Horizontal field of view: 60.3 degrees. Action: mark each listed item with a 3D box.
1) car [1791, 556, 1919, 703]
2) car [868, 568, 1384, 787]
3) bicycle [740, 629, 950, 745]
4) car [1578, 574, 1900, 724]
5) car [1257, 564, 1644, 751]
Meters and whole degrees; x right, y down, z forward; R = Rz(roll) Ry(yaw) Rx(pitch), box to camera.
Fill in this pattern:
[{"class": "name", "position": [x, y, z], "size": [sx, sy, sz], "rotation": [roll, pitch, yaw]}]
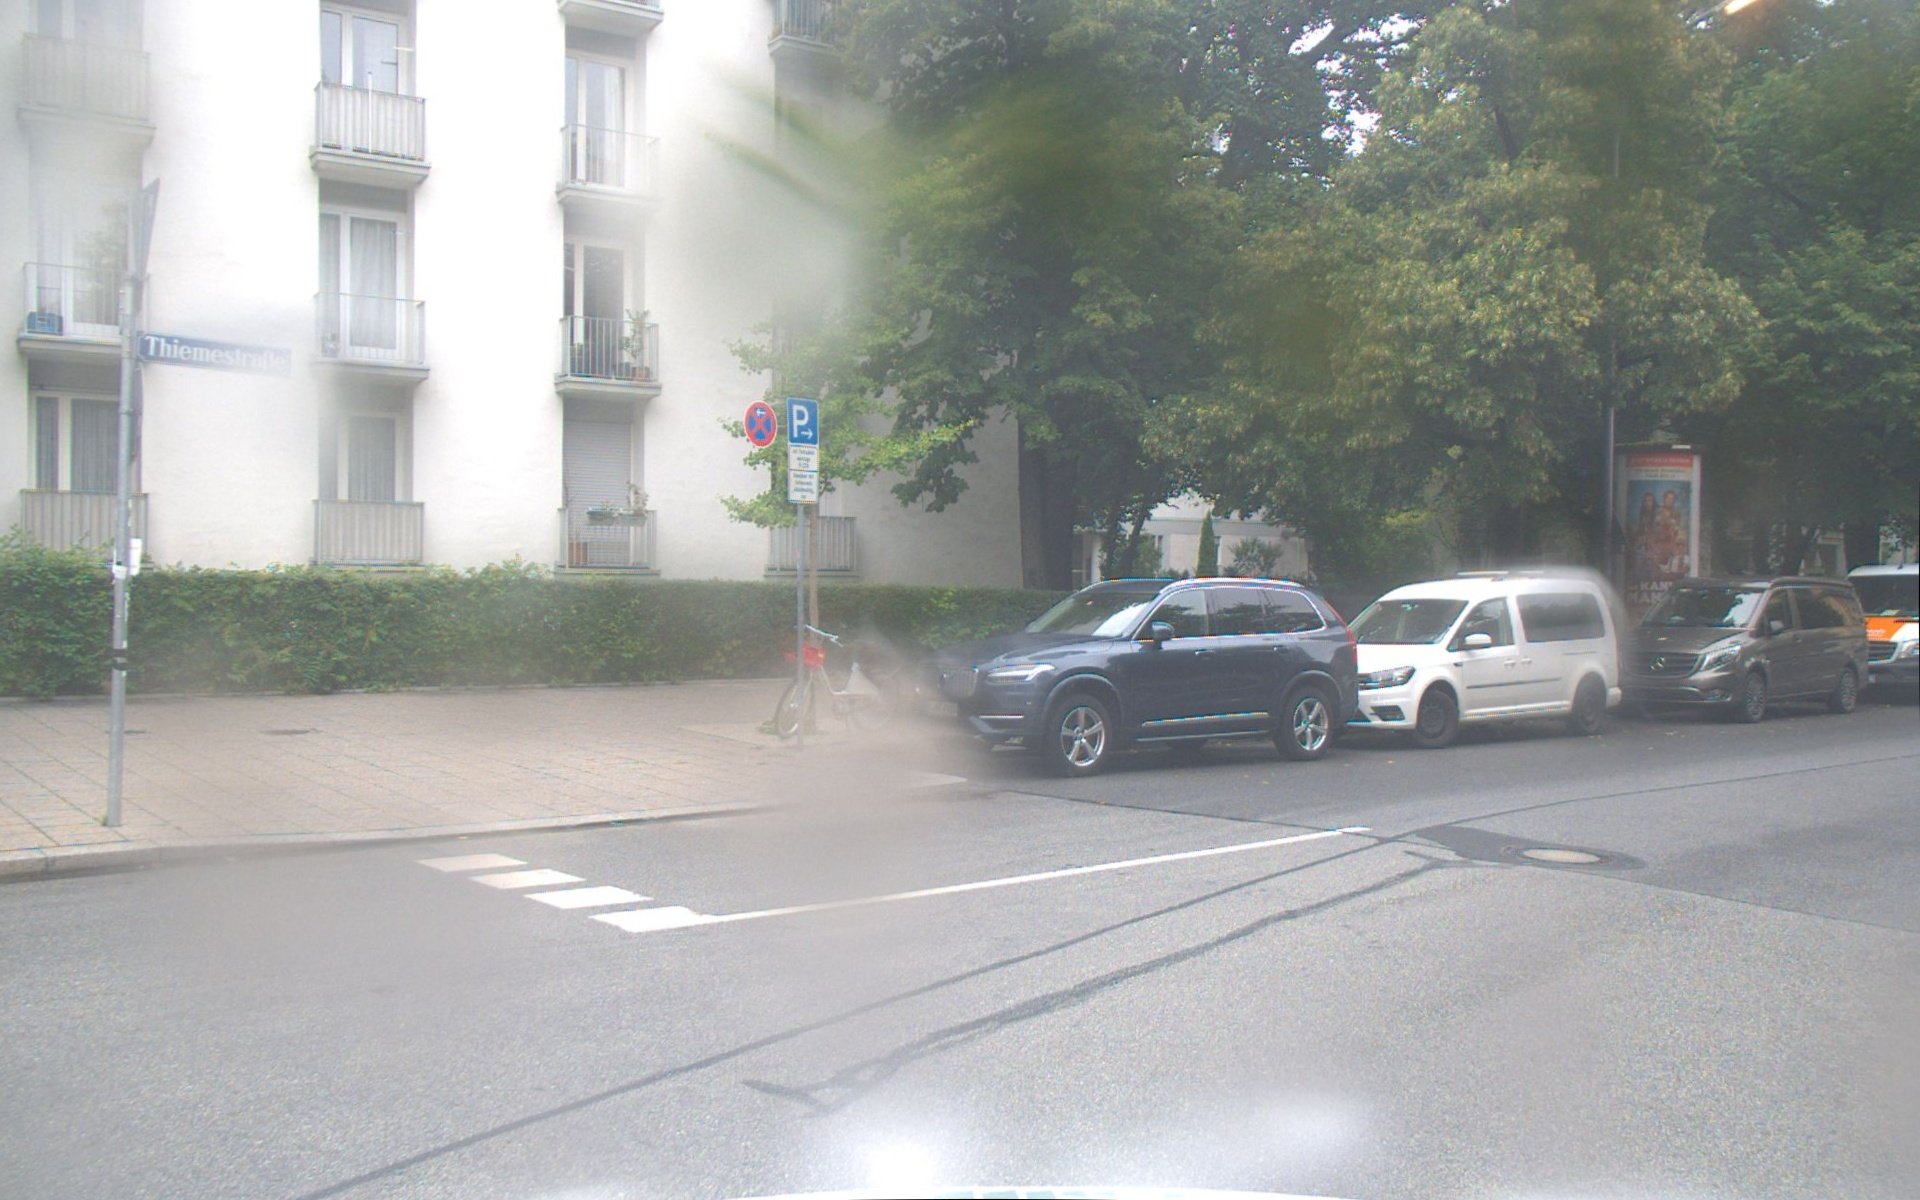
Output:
[{"class": "car", "position": [16.423, 0.454, 28.066], "size": [5.139, 2.290, 2.090], "rotation": [0, 1, -37]}, {"class": "car", "position": [1.693, 0.632, 15.880], "size": [4.854, 1.798, 2.045], "rotation": [0, 1, -37]}, {"class": "bicycle", "position": [-1.152, 0.849, 16.746], "size": [1.949, 1.070, 0.902], "rotation": [1, 0, -36]}, {"class": "car", "position": [11.027, 0.616, 23.275], "size": [4.932, 1.891, 2.045], "rotation": [0, 1, -37]}, {"class": "car", "position": [5.807, 0.590, 19.305], "size": [4.817, 1.928, 1.906], "rotation": [0, 1, -38]}]
